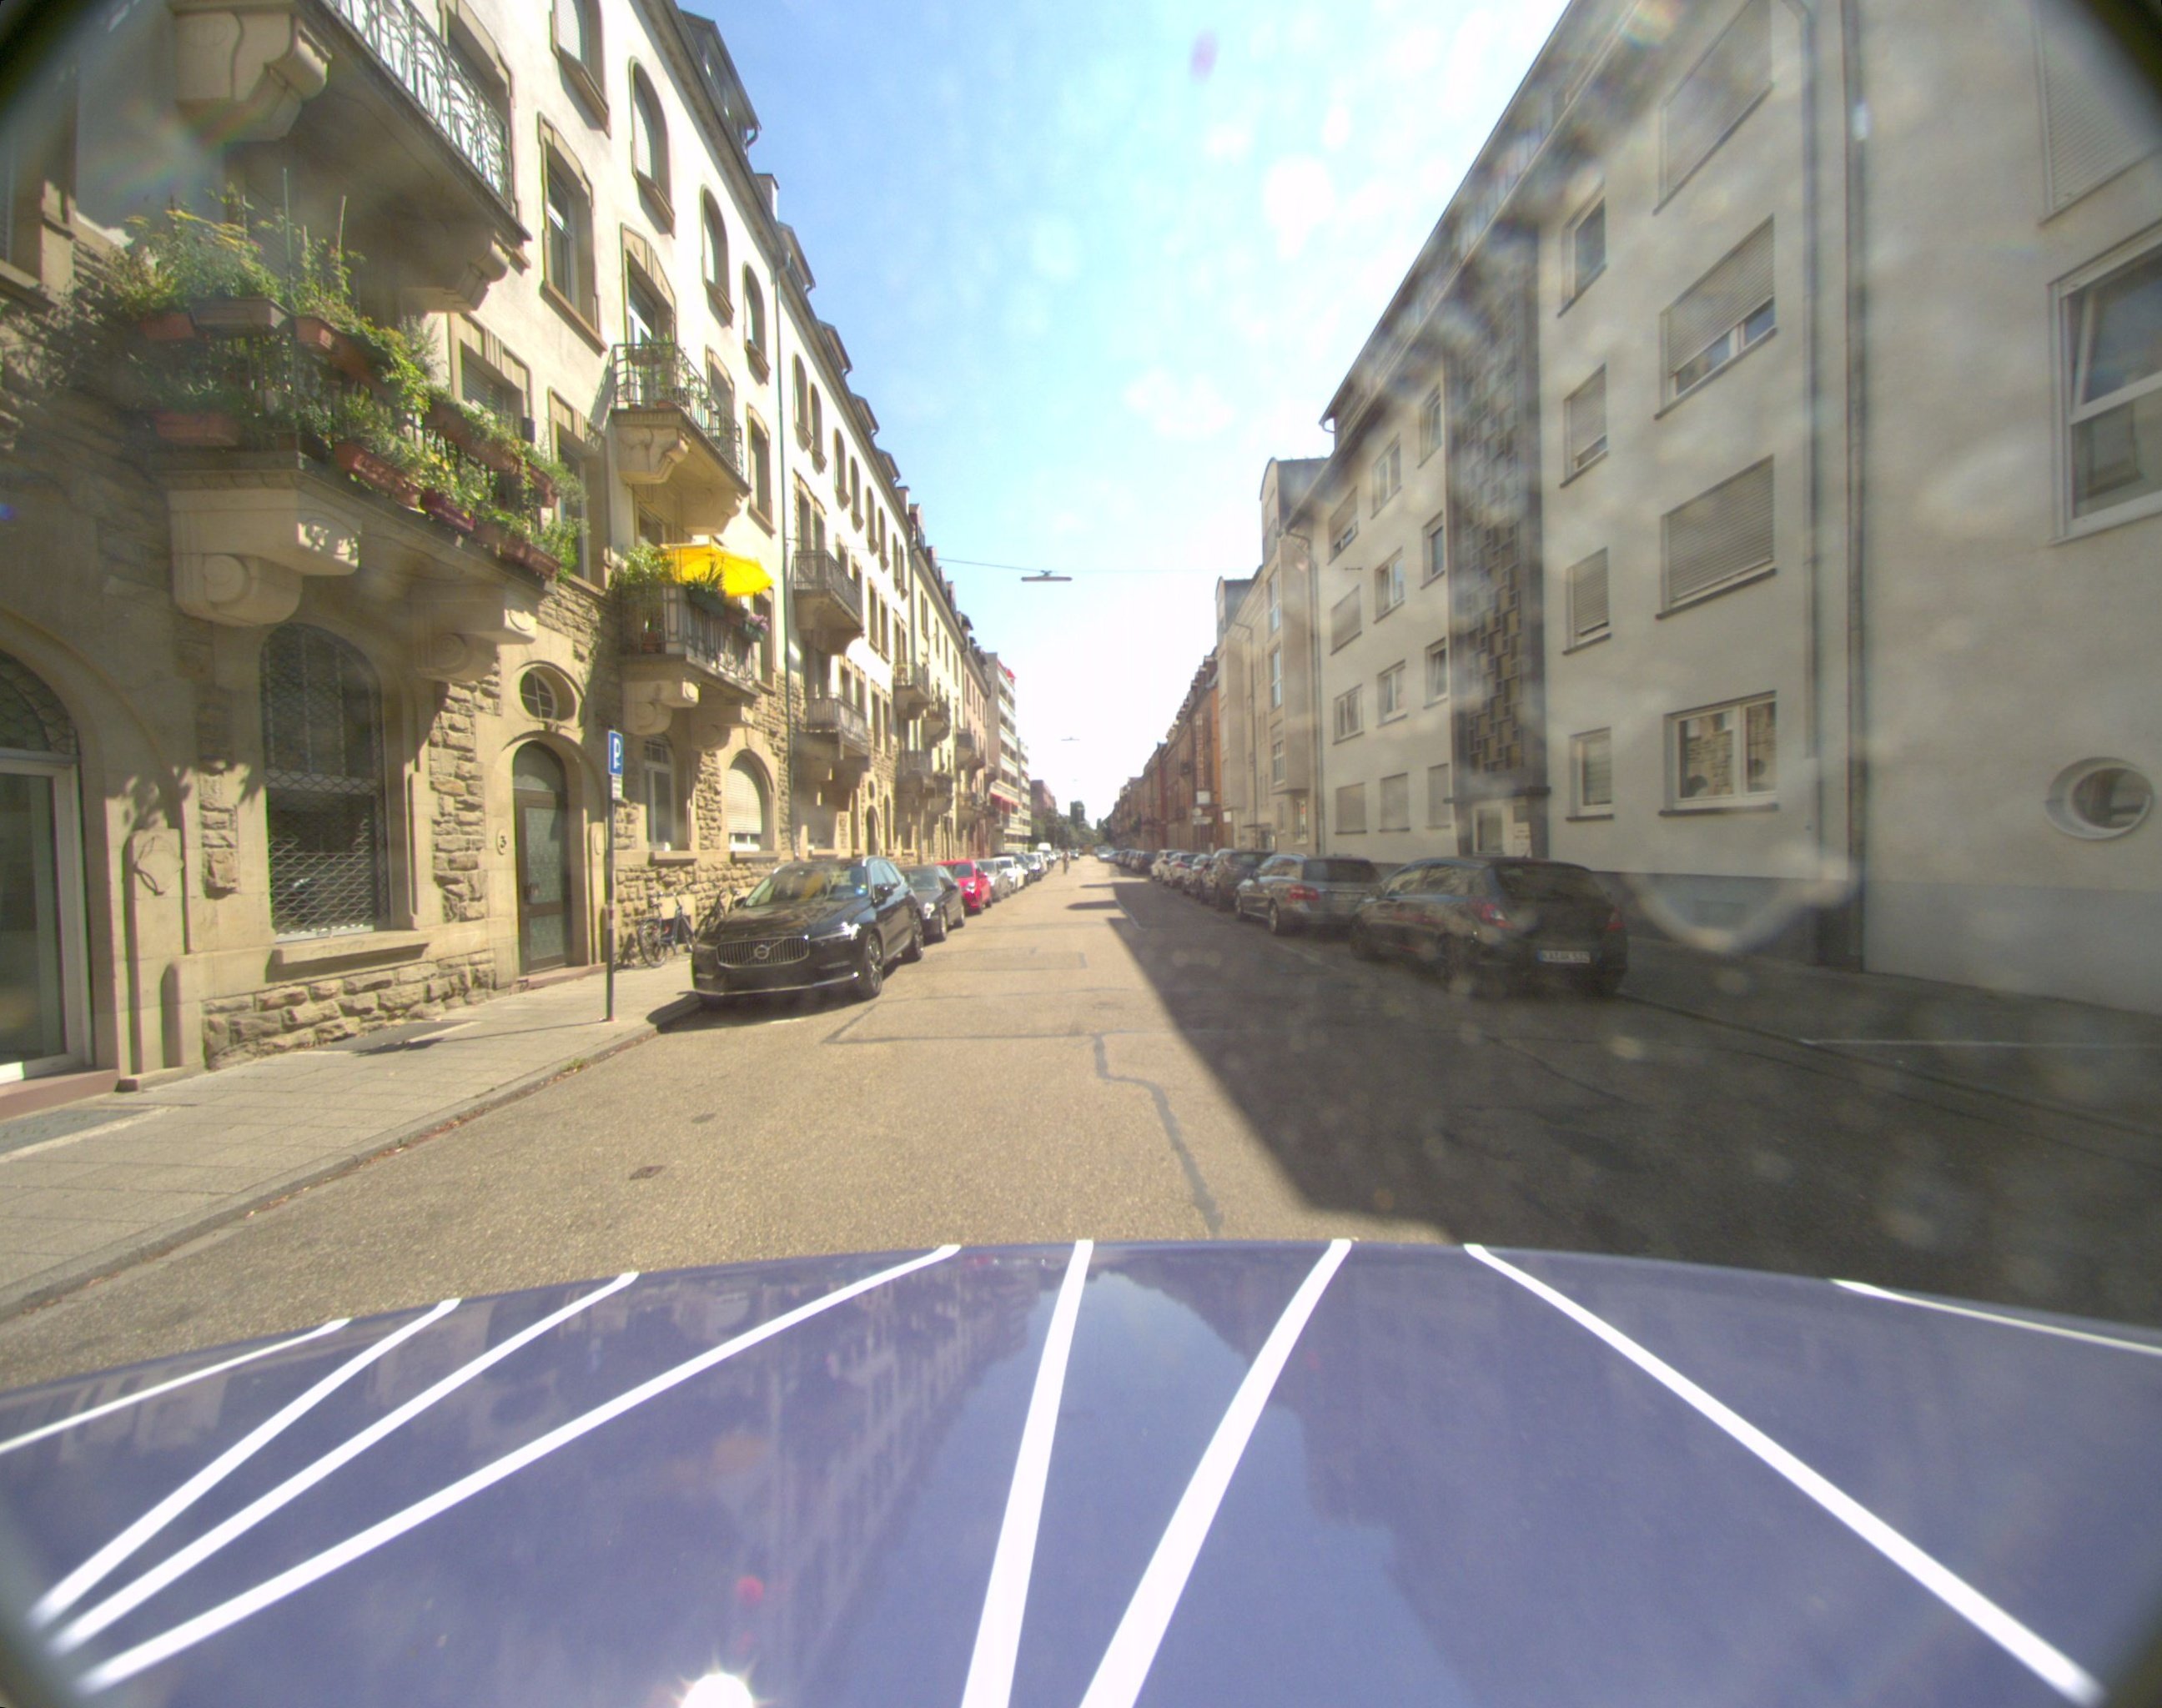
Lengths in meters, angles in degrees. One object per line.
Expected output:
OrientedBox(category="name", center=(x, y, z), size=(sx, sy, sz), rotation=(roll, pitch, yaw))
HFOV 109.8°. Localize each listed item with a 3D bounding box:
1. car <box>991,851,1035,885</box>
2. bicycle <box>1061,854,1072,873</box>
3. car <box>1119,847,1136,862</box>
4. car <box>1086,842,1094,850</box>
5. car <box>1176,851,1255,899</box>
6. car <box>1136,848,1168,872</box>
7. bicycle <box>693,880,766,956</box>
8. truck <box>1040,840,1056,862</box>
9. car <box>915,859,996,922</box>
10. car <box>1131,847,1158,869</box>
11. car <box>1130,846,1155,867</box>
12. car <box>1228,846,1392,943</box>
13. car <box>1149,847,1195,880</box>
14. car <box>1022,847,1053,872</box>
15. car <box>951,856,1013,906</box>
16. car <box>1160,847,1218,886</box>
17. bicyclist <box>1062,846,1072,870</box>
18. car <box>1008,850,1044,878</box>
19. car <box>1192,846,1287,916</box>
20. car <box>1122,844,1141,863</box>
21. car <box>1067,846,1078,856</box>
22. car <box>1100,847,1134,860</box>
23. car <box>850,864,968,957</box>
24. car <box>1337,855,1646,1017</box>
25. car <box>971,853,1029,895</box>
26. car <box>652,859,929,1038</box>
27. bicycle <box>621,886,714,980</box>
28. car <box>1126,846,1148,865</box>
OrientedBox(category="car", center=(-3.282, 0.644, 37.410), size=(1.741, 1.449, 4.667), rotation=(-1, 1, 0))
OrientedBox(category="bicycle", center=(-0.951, 0.614, 50.845), size=(0.671, 1.169, 2.094), rotation=(-1, 1, 1))
OrientedBox(category="car", center=(4.562, 0.006, 75.534), size=(1.450, 1.391, 3.525), rotation=(2, 1, 0))
OrientedBox(category="car", center=(2.158, -2.005, 189.554), size=(1.785, 2.002, 4.000), rotation=(-2, 1, 3))
OrientedBox(category="car", center=(4.389, 0.642, 25.386), size=(1.769, 1.385, 4.347), rotation=(0, 1, -1))
OrientedBox(category="car", center=(4.632, 0.391, 49.933), size=(1.781, 1.421, 3.836), rotation=(2, 1, 1))
OrientedBox(category="bicycle", center=(-6.360, 1.127, 13.828), size=(0.442, 1.201, 1.775), rotation=(-1, 1, 1))
OrientedBox(category="truck", center=(-4.313, -0.423, 100.423), size=(1.869, 2.715, 4.507), rotation=(-1, 1, 0))
OrientedBox(category="car", center=(-3.416, 0.947, 21.343), size=(1.574, 1.444, 3.842), rotation=(-4, 1, 0))
OrientedBox(category="car", center=(4.578, 0.252, 55.189), size=(1.632, 1.421, 3.678), rotation=(2, 1, 1))
OrientedBox(category="car", center=(4.826, 0.150, 60.057), size=(1.450, 1.534, 3.524), rotation=(2, 1, -3))
OrientedBox(category="car", center=(4.165, 0.635, 14.655), size=(1.661, 1.510, 4.670), rotation=(0, 1, -1))
OrientedBox(category="car", center=(4.627, 0.436, 39.183), size=(1.633, 1.540, 3.851), rotation=(2, 1, -4))
OrientedBox(category="car", center=(-3.027, 0.374, 54.049), size=(1.651, 1.613, 4.092), rotation=(-1, 1, 4))
OrientedBox(category="car", center=(-3.389, 0.899, 26.612), size=(1.593, 1.444, 3.855), rotation=(-4, 1, 0))
OrientedBox(category="car", center=(4.498, 0.466, 32.163), size=(1.735, 1.486, 4.347), rotation=(1, 1, -1))
OrientedBox(category="bicyclist", center=(-0.943, 0.265, 50.923), size=(0.645, 1.640, 0.622), rotation=(-1, 2, 0))
OrientedBox(category="car", center=(-3.084, 0.545, 43.369), size=(1.828, 1.424, 4.488), rotation=(-2, 1, -2))
OrientedBox(category="car", center=(4.066, 0.627, 20.087), size=(1.608, 1.635, 3.976), rotation=(0, 1, -1))
OrientedBox(category="car", center=(4.655, -0.033, 70.598), size=(1.450, 1.633, 3.525), rotation=(2, 1, -1))
OrientedBox(category="car", center=(-1.284, -0.484, 117.500), size=(1.625, 1.601, 3.596), rotation=(-1, 1, 0))
OrientedBox(category="car", center=(4.328, -0.060, 92.334), size=(3.997, 1.422, 1.677), rotation=(-1, 1, 1))
OrientedBox(category="car", center=(-3.254, 0.992, 15.069), size=(1.516, 1.391, 3.971), rotation=(-4, 1, -3))
OrientedBox(category="car", center=(4.599, 0.793, 9.250), size=(1.571, 1.483, 3.892), rotation=(0, 1, -1))
OrientedBox(category="car", center=(-3.313, 0.763, 31.871), size=(1.720, 1.444, 4.596), rotation=(-4, 1, 2))
OrientedBox(category="car", center=(-3.318, 0.946, 9.812), size=(1.838, 1.558, 4.603), rotation=(-4, 1, -2))
OrientedBox(category="bicycle", center=(-6.226, 1.143, 11.537), size=(0.385, 1.201, 1.775), rotation=(-1, 1, 1))
OrientedBox(category="car", center=(4.692, 0.122, 64.402), size=(1.450, 1.464, 3.524), rotation=(2, 1, -2))
